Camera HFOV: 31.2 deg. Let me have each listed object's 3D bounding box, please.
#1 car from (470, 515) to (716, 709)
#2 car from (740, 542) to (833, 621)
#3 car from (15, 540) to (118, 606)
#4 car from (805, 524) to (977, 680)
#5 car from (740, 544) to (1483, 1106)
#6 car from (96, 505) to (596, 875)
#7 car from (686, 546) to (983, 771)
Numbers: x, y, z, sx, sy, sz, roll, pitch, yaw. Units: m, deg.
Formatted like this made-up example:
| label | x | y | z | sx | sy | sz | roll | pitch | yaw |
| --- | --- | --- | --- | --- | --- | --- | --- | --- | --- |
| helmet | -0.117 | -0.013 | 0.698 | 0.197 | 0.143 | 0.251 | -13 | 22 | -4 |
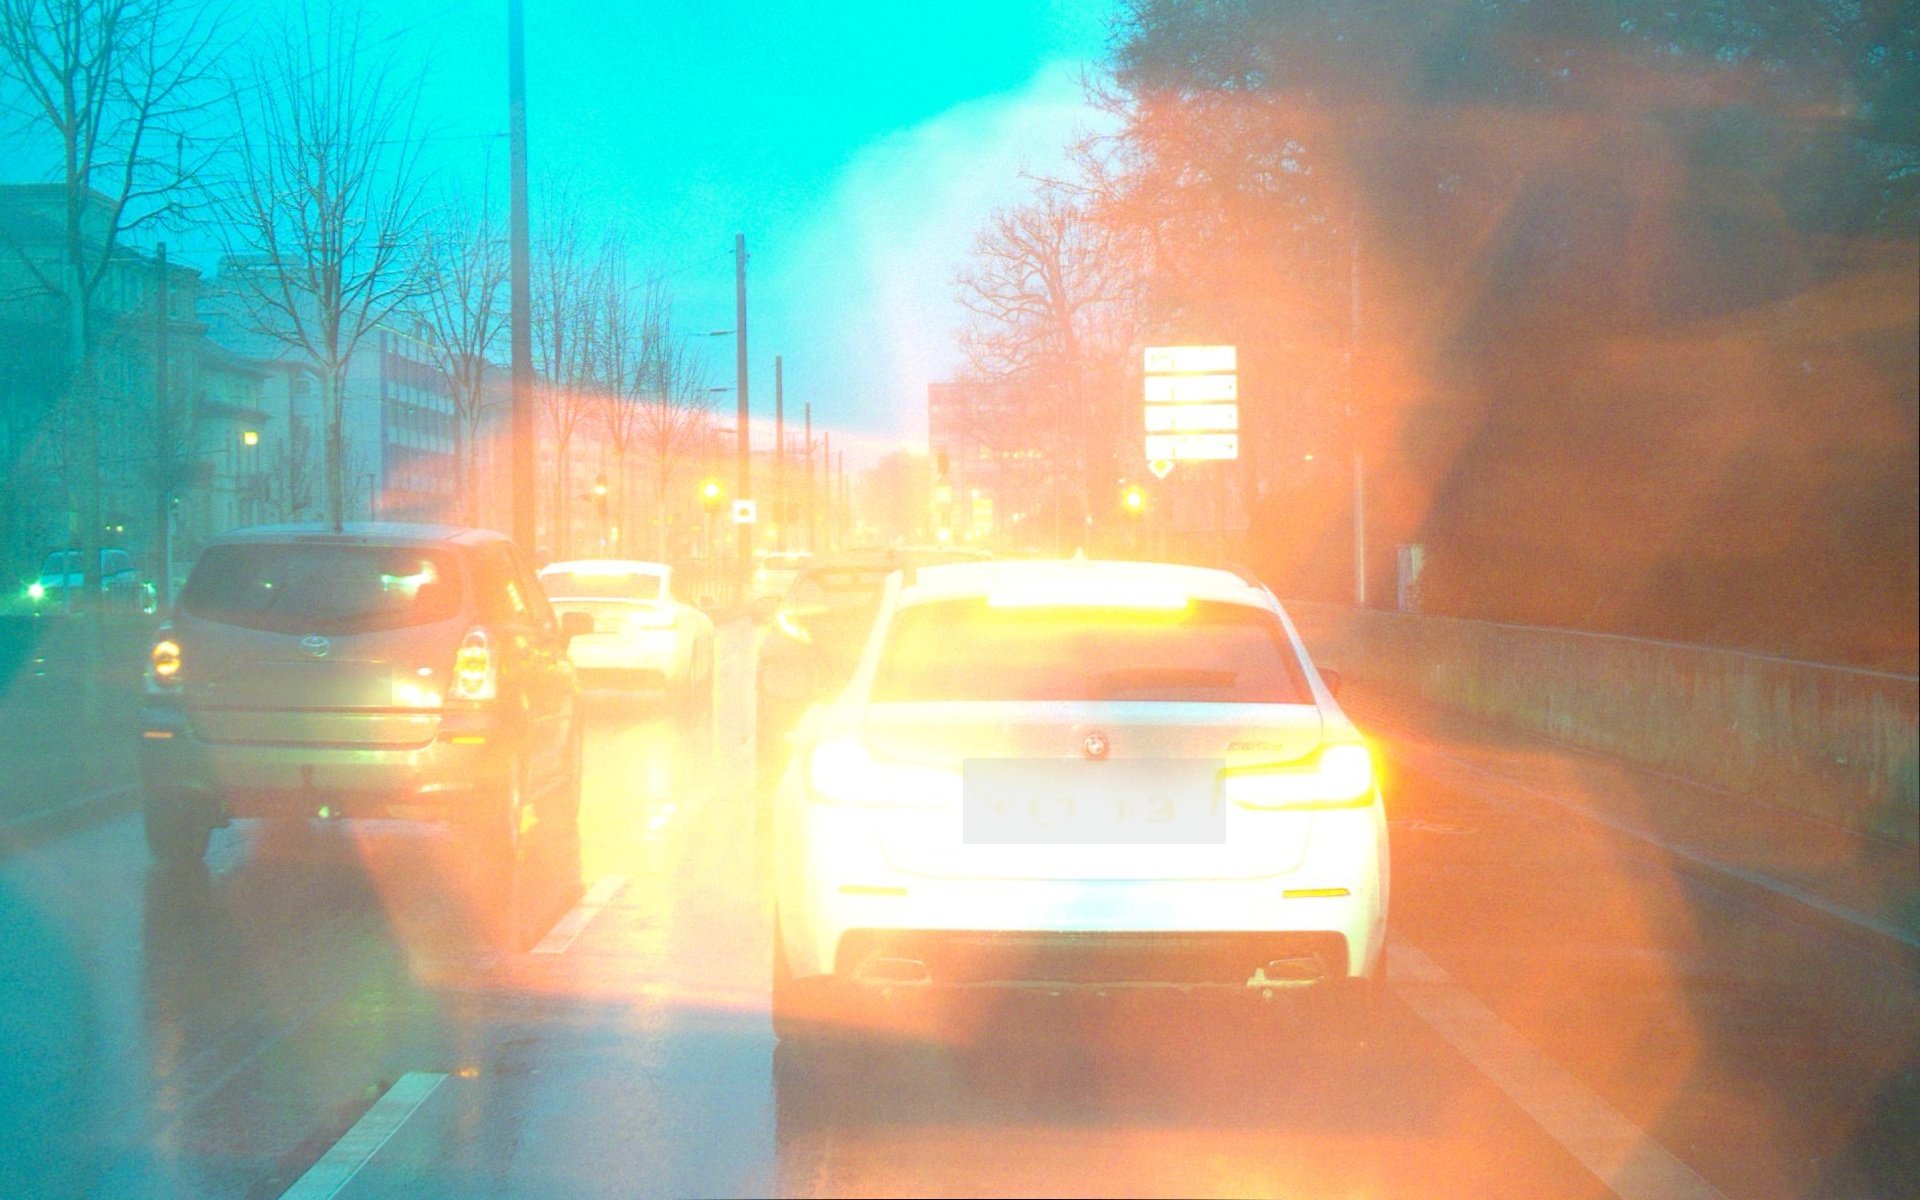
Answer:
| label | x | y | z | sx | sy | sz | roll | pitch | yaw |
| --- | --- | --- | --- | --- | --- | --- | --- | --- | --- |
| car | -3.507 | 0.091 | 33.509 | 1.993 | 1.749 | 4.000 | 1 | 1 | -1 |
| car | -3.723 | -0.424 | 74.349 | 1.806 | 1.640 | 4.000 | 1 | 1 | 0 |
| car | -24.167 | -0.760 | 93.155 | 1.895 | 1.713 | 5.119 | -1 | 1 | -5 |
| car | -0.733 | -0.016 | 38.563 | 1.806 | 1.640 | 4.000 | 1 | 1 | 0 |
| car | 0.403 | 0.575 | 11.363 | 1.999 | 1.503 | 4.163 | 0 | 1 | 0 |
| car | -2.971 | 0.370 | 17.433 | 1.806 | 1.640 | 4.000 | 1 | 1 | 0 |
| car | -0.823 | 0.347 | 24.495 | 1.936 | 1.452 | 4.163 | 0 | 1 | 0 |
